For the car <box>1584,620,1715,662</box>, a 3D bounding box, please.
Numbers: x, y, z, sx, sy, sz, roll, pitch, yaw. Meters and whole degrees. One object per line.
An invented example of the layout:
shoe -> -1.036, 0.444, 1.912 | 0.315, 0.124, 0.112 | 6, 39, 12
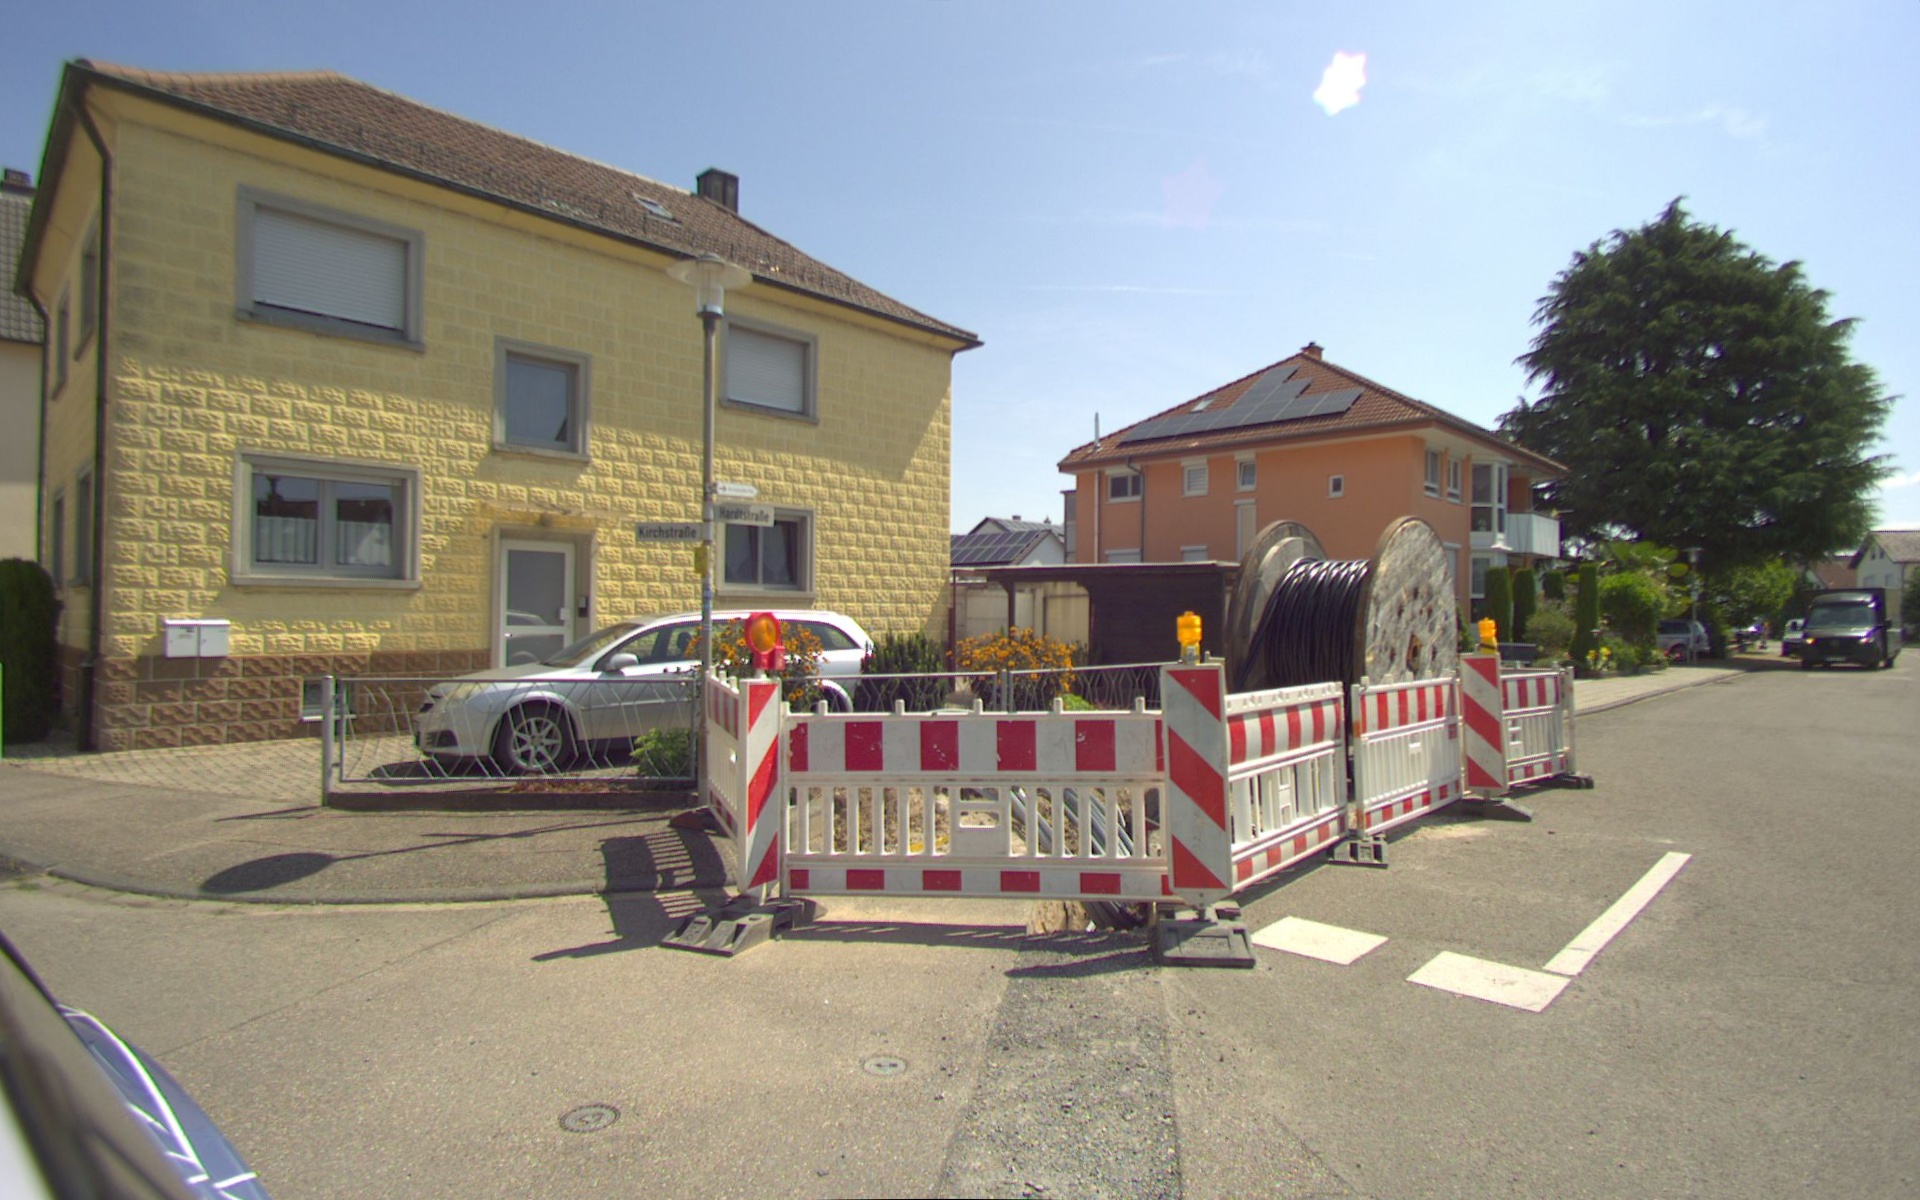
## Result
car -> 28.645, 1.656, 42.117 | 1.786, 1.665, 4.210 | 1, -2, -43

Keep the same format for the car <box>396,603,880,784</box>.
car -> -3.183, 0.826, 10.386 | 4.398, 1.496, 1.797 | 1, -1, -34

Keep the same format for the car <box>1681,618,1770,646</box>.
car -> 48.212, 1.996, 63.797 | 1.786, 1.665, 4.210 | 1, -2, -43

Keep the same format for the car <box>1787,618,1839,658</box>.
car -> 40.112, 1.744, 47.572 | 1.813, 1.776, 4.149 | -1, -2, 41

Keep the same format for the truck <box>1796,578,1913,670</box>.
truck -> 30.827, 0.859, 34.761 | 2.443, 2.809, 7.190 | -5, -4, 45
